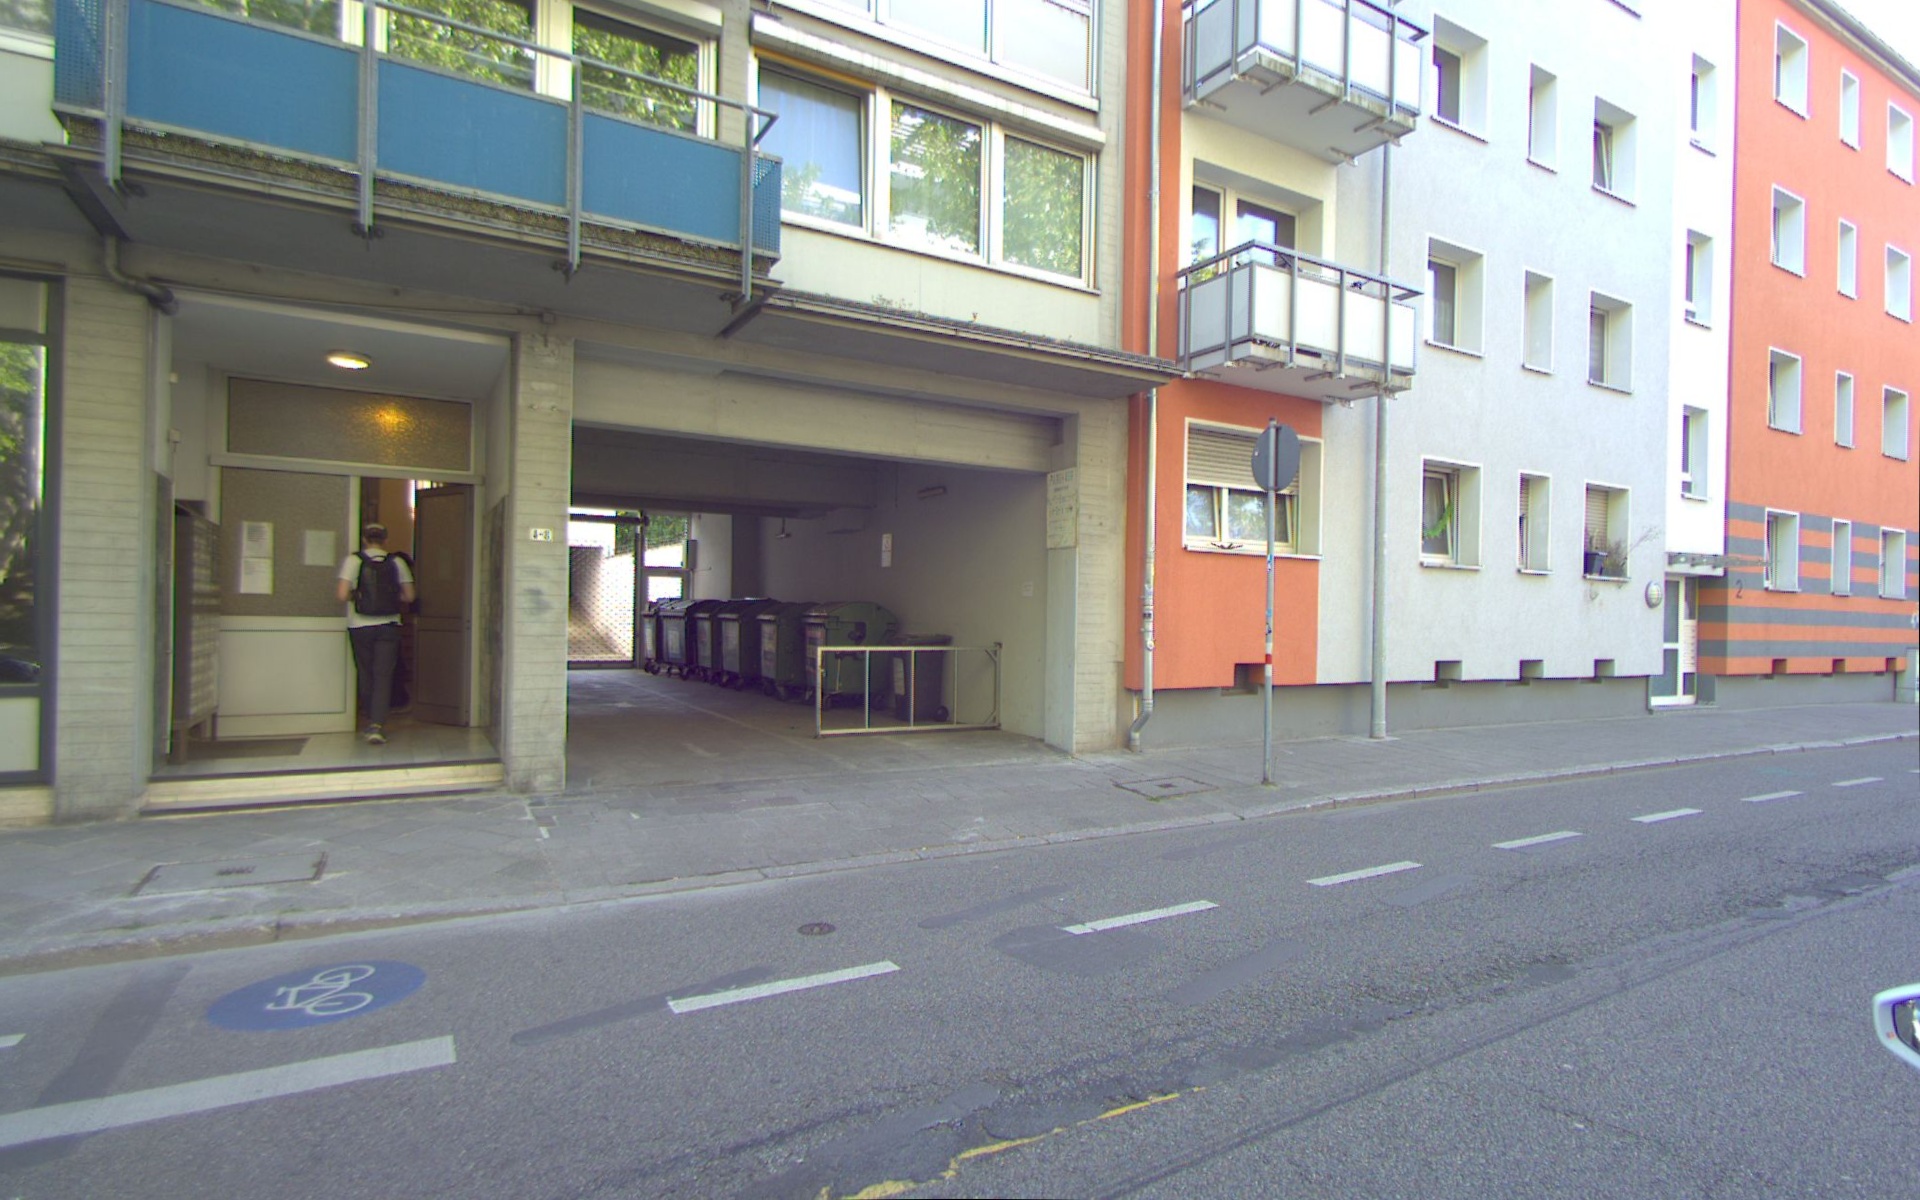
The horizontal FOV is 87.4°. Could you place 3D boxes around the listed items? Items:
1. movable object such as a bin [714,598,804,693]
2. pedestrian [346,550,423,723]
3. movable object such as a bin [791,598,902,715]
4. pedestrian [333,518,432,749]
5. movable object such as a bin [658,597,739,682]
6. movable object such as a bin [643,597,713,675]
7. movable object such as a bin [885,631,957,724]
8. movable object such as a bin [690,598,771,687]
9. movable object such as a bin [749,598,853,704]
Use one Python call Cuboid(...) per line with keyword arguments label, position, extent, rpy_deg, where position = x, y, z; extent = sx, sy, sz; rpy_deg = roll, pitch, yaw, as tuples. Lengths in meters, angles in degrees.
Cuboid(label="movable object such as a bin", position=(-3.334, 0.727, 16.620), extent=(1.167, 1.503, 1.073), rpy_deg=(1, 0, -30))
Cuboid(label="pedestrian", position=(-6.014, 0.377, 10.490), extent=(0.654, 1.736, 0.543), rpy_deg=(1, 0, -33))
Cuboid(label="movable object such as a bin", position=(-1.564, 0.743, 13.739), extent=(1.086, 1.503, 1.251), rpy_deg=(1, 0, -30))
Cuboid(label="pedestrian", position=(-4.833, 0.262, 8.447), extent=(0.593, 1.824, 0.874), rpy_deg=(1, 1, -24))
Cuboid(label="movable object such as a bin", position=(-4.875, 0.713, 18.697), extent=(1.167, 1.503, 1.215), rpy_deg=(1, 0, -30))
Cuboid(label="movable object such as a bin", position=(-5.602, 0.705, 19.941), extent=(1.167, 1.503, 0.819), rpy_deg=(1, 0, -30))
Cuboid(label="movable object such as a bin", position=(-0.490, 0.945, 12.465), extent=(0.687, 1.094, 0.579), rpy_deg=(1, 0, -30))
Cuboid(label="movable object such as a bin", position=(-4.043, 0.725, 17.654), extent=(1.080, 1.503, 1.159), rpy_deg=(1, 0, -30))
Cuboid(label="movable object such as a bin", position=(-2.409, 0.735, 15.151), extent=(1.167, 1.503, 1.252), rpy_deg=(1, 0, -30))
